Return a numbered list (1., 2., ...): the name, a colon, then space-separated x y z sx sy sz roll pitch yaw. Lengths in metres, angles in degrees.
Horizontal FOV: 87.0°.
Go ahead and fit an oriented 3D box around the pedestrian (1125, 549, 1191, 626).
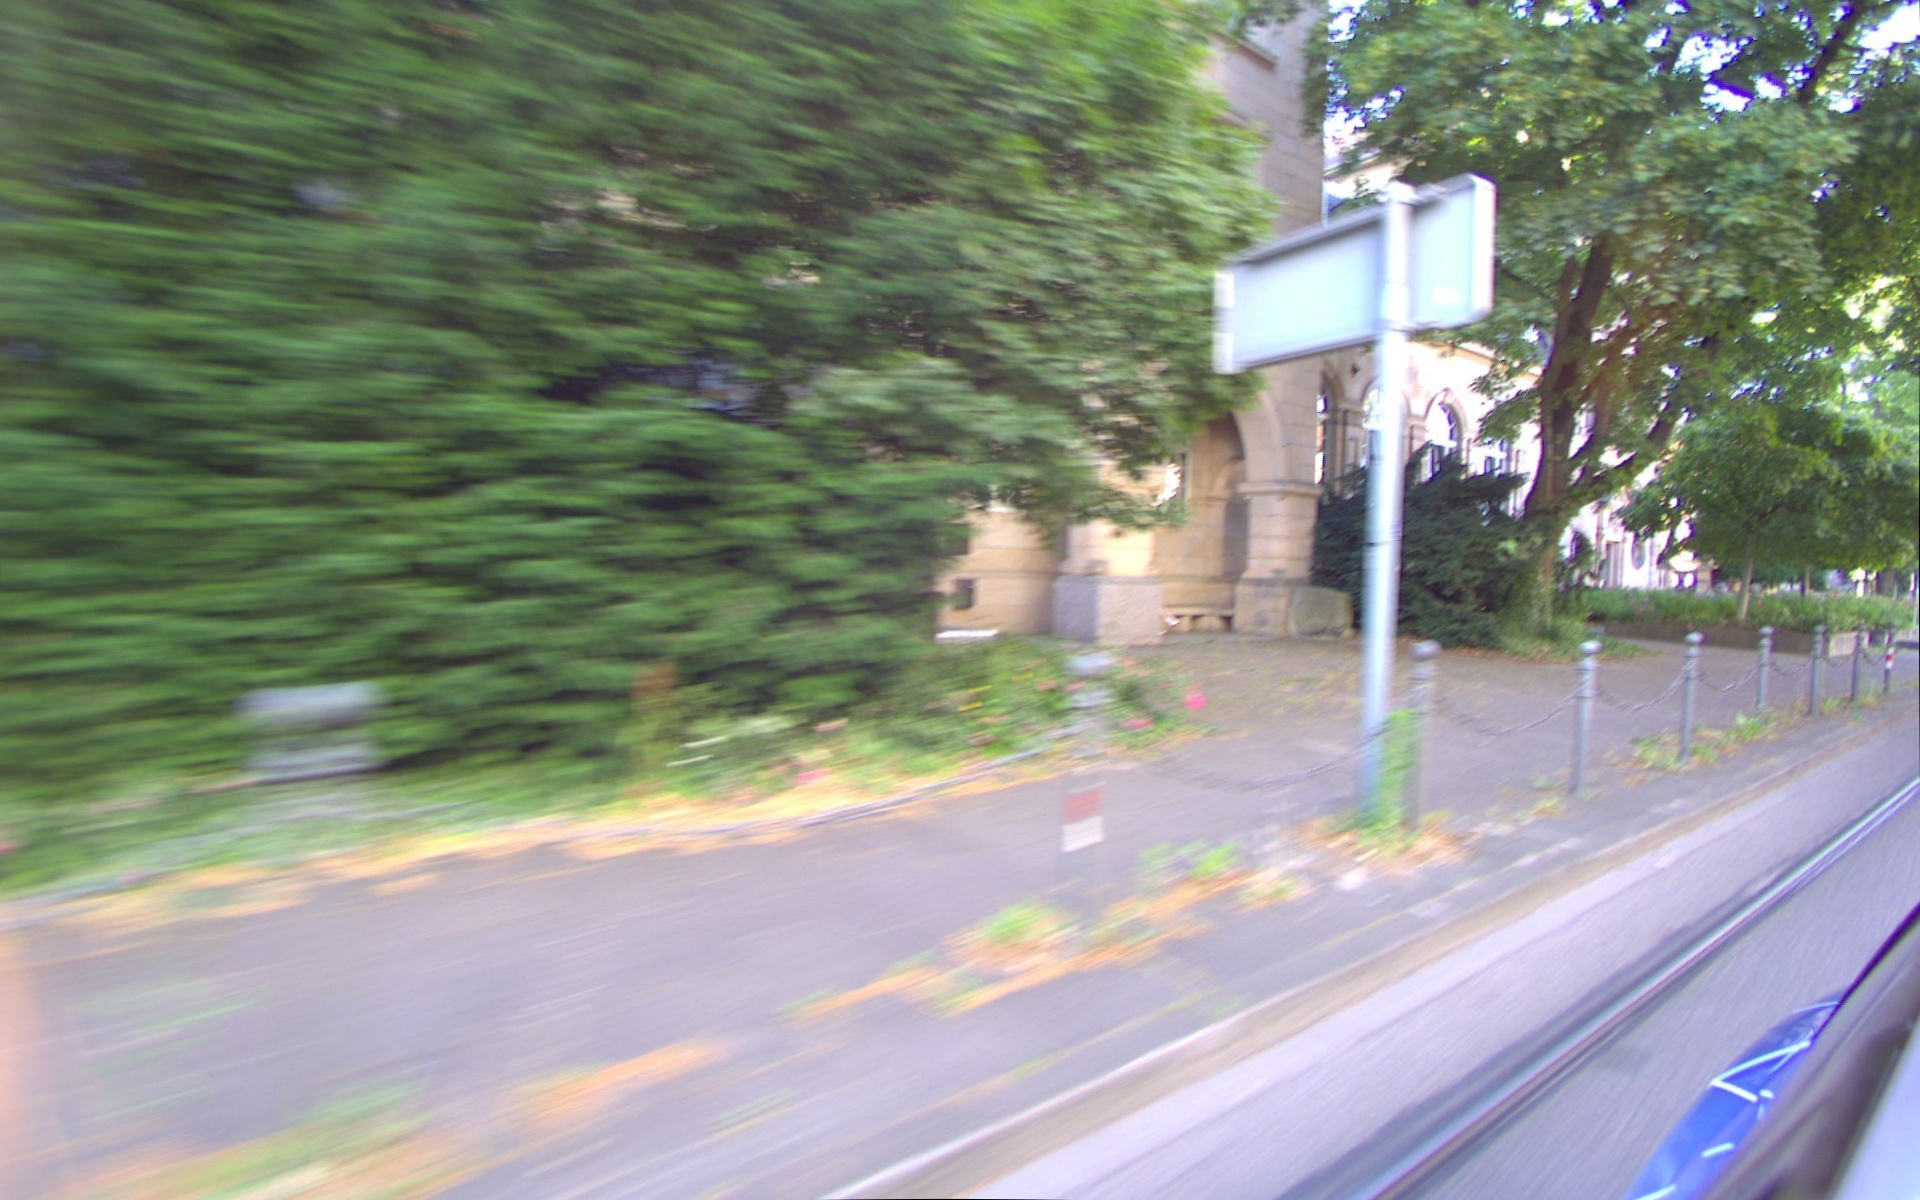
1. pedestrian: 3.589 -0.233 18.402 0.655 1.372 0.983 0 1 -38
